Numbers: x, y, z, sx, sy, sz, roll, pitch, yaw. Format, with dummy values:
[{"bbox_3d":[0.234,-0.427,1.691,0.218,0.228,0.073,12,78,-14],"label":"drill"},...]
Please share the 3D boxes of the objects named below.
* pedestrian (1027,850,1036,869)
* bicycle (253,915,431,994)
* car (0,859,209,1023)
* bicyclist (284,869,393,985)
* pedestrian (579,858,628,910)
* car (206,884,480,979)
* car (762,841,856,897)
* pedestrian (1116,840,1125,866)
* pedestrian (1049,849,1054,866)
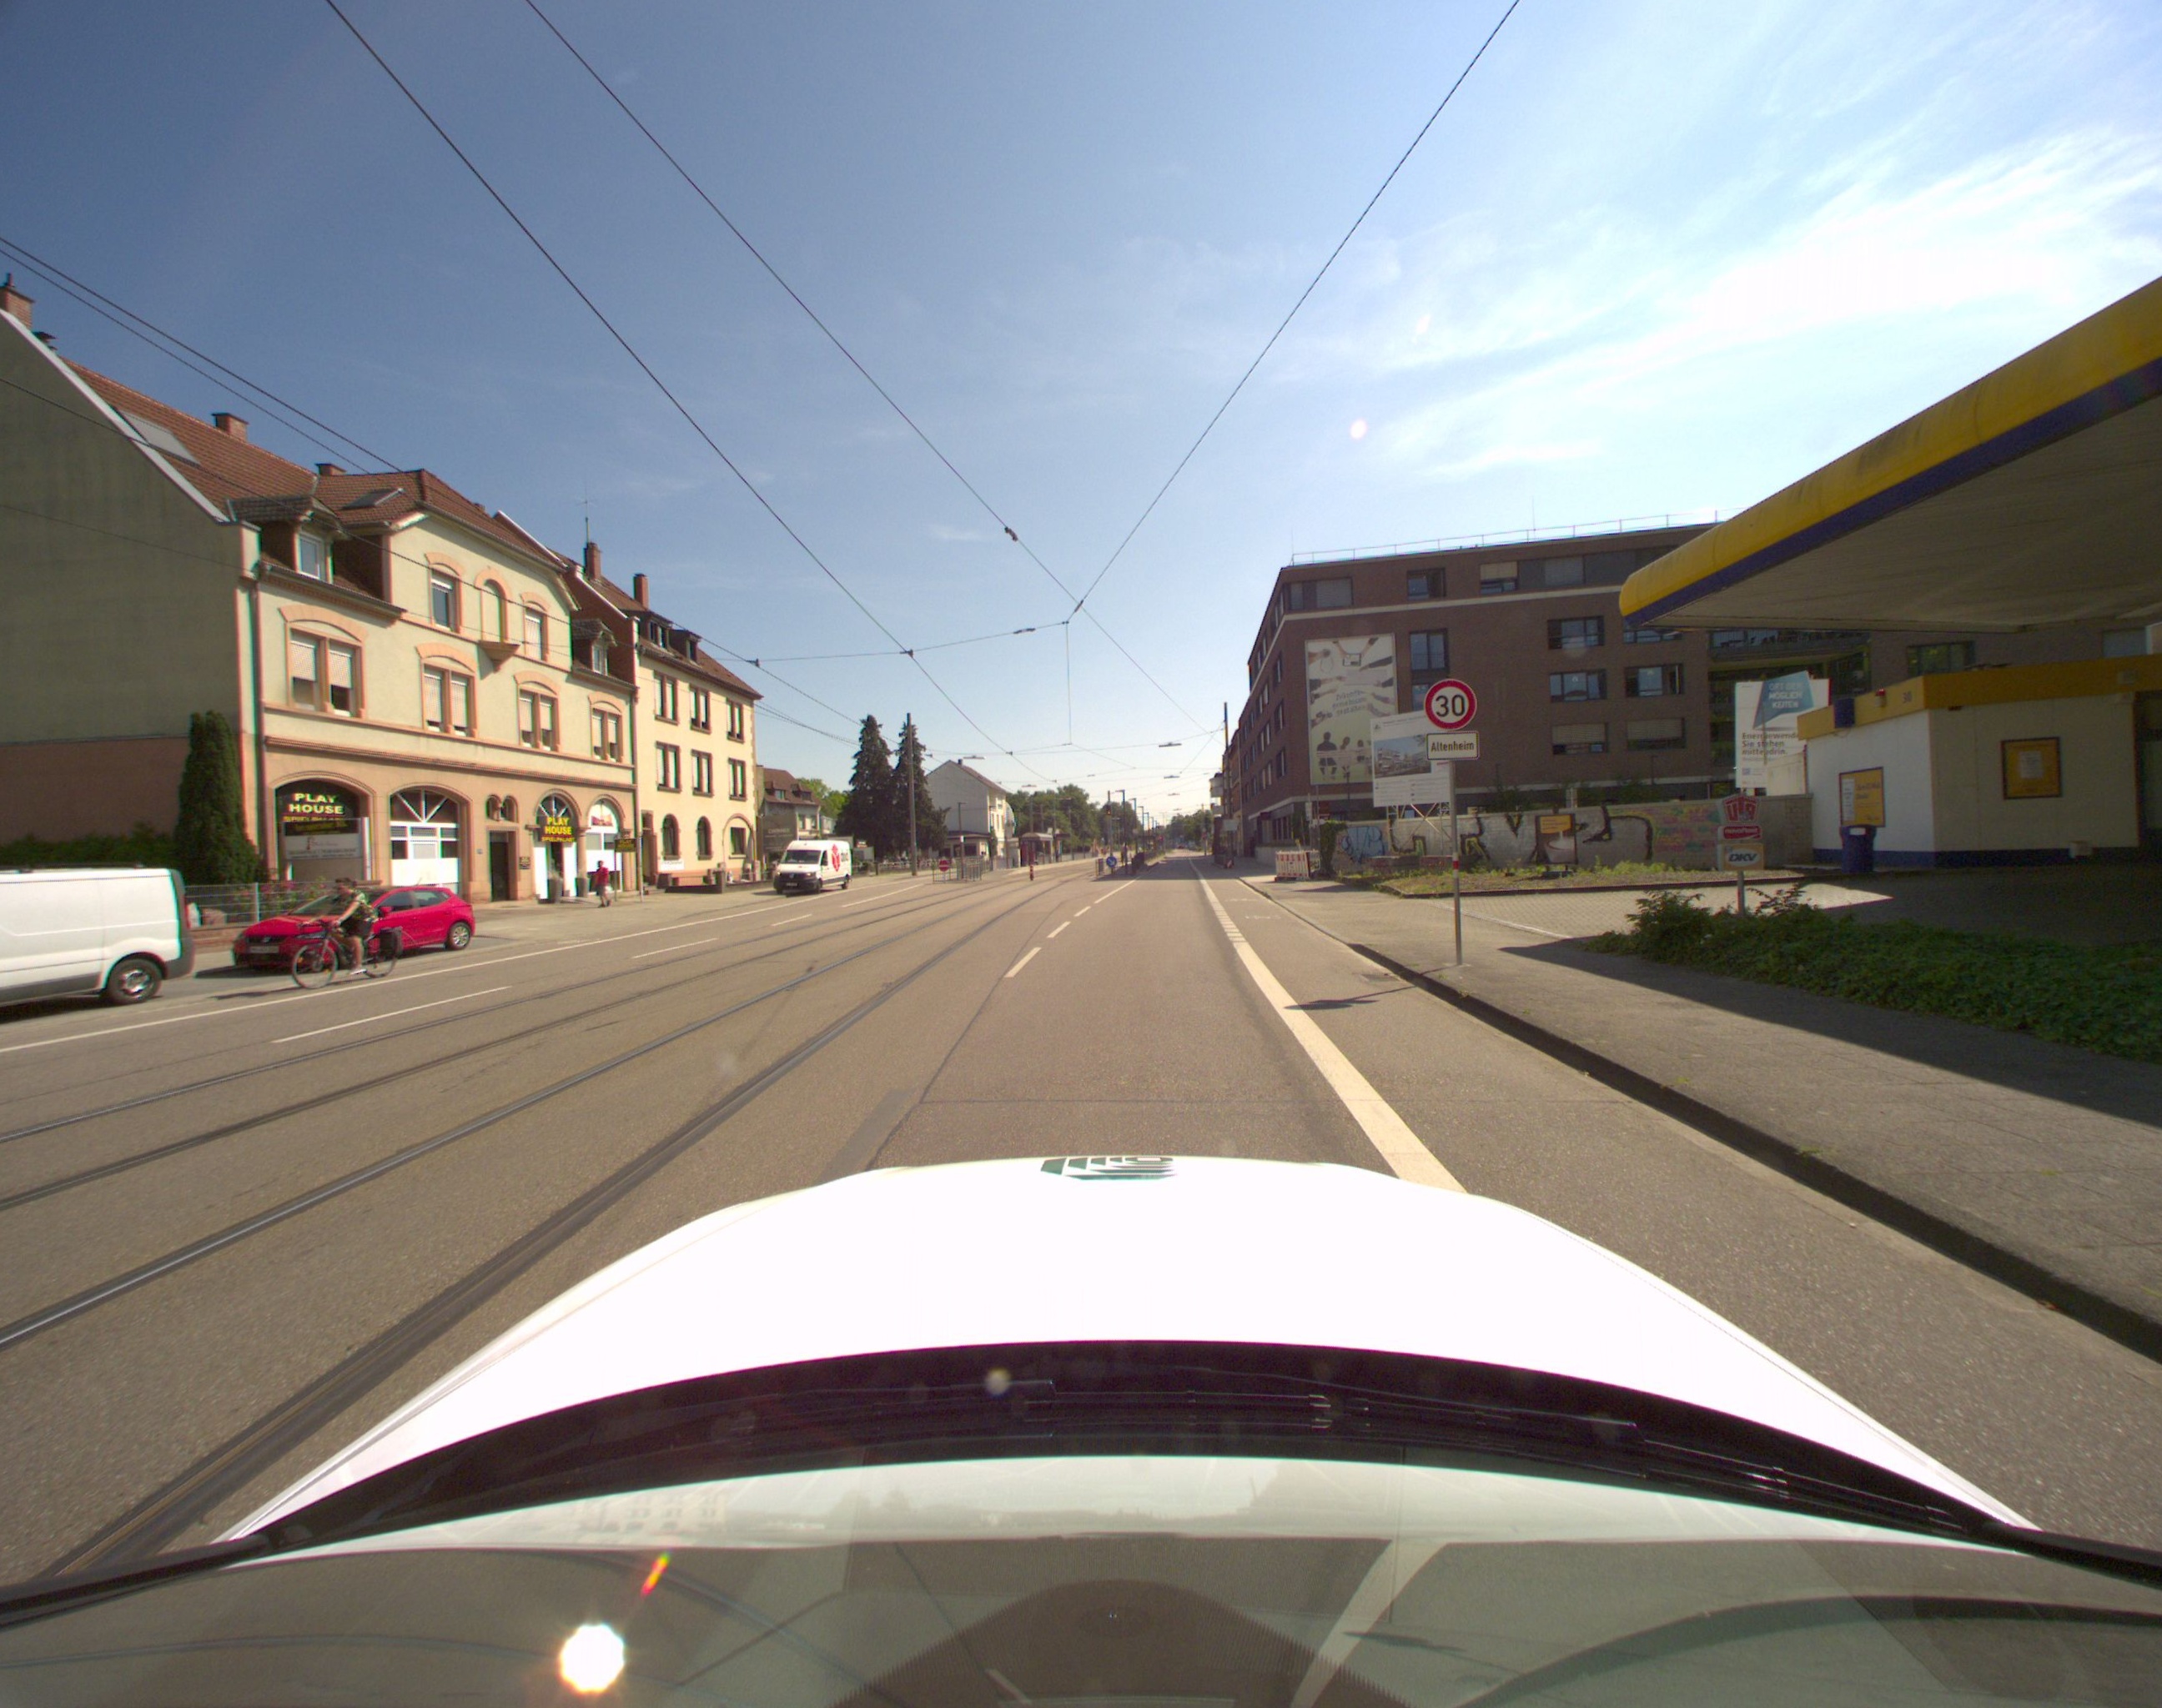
[{"bbox_3d":[-4.432,0.487,73.420,0.703,1.690,0.416,-2,0,-1],"label":"pedestrian"},{"bbox_3d":[-11.753,1.564,13.078,0.605,0.984,2.170,-3,0,10],"label":"bicycle"},{"bbox_3d":[-14.506,1.126,10.055,2.076,2.013,4.909,-2,0,1],"label":"car"},{"bbox_3d":[-11.834,1.135,13.009,0.711,1.724,0.991,-3,0,11],"label":"bicyclist"},{"bbox_3d":[-17.288,1.062,29.506,0.937,1.815,1.133,-2,0,9],"label":"pedestrian"},{"bbox_3d":[-14.345,1.423,16.199,1.714,1.406,4.001,-3,0,0],"label":"car"},{"bbox_3d":[-13.274,0.650,40.261,2.321,2.535,6.507,0,0,1],"label":"car"},{"bbox_3d":[2.718,-0.088,55.917,0.554,1.760,0.794,-3,0,1],"label":"pedestrian"},{"bbox_3d":[-3.093,0.367,84.272,0.415,1.690,0.706,-2,0,-7],"label":"pedestrian"}]
